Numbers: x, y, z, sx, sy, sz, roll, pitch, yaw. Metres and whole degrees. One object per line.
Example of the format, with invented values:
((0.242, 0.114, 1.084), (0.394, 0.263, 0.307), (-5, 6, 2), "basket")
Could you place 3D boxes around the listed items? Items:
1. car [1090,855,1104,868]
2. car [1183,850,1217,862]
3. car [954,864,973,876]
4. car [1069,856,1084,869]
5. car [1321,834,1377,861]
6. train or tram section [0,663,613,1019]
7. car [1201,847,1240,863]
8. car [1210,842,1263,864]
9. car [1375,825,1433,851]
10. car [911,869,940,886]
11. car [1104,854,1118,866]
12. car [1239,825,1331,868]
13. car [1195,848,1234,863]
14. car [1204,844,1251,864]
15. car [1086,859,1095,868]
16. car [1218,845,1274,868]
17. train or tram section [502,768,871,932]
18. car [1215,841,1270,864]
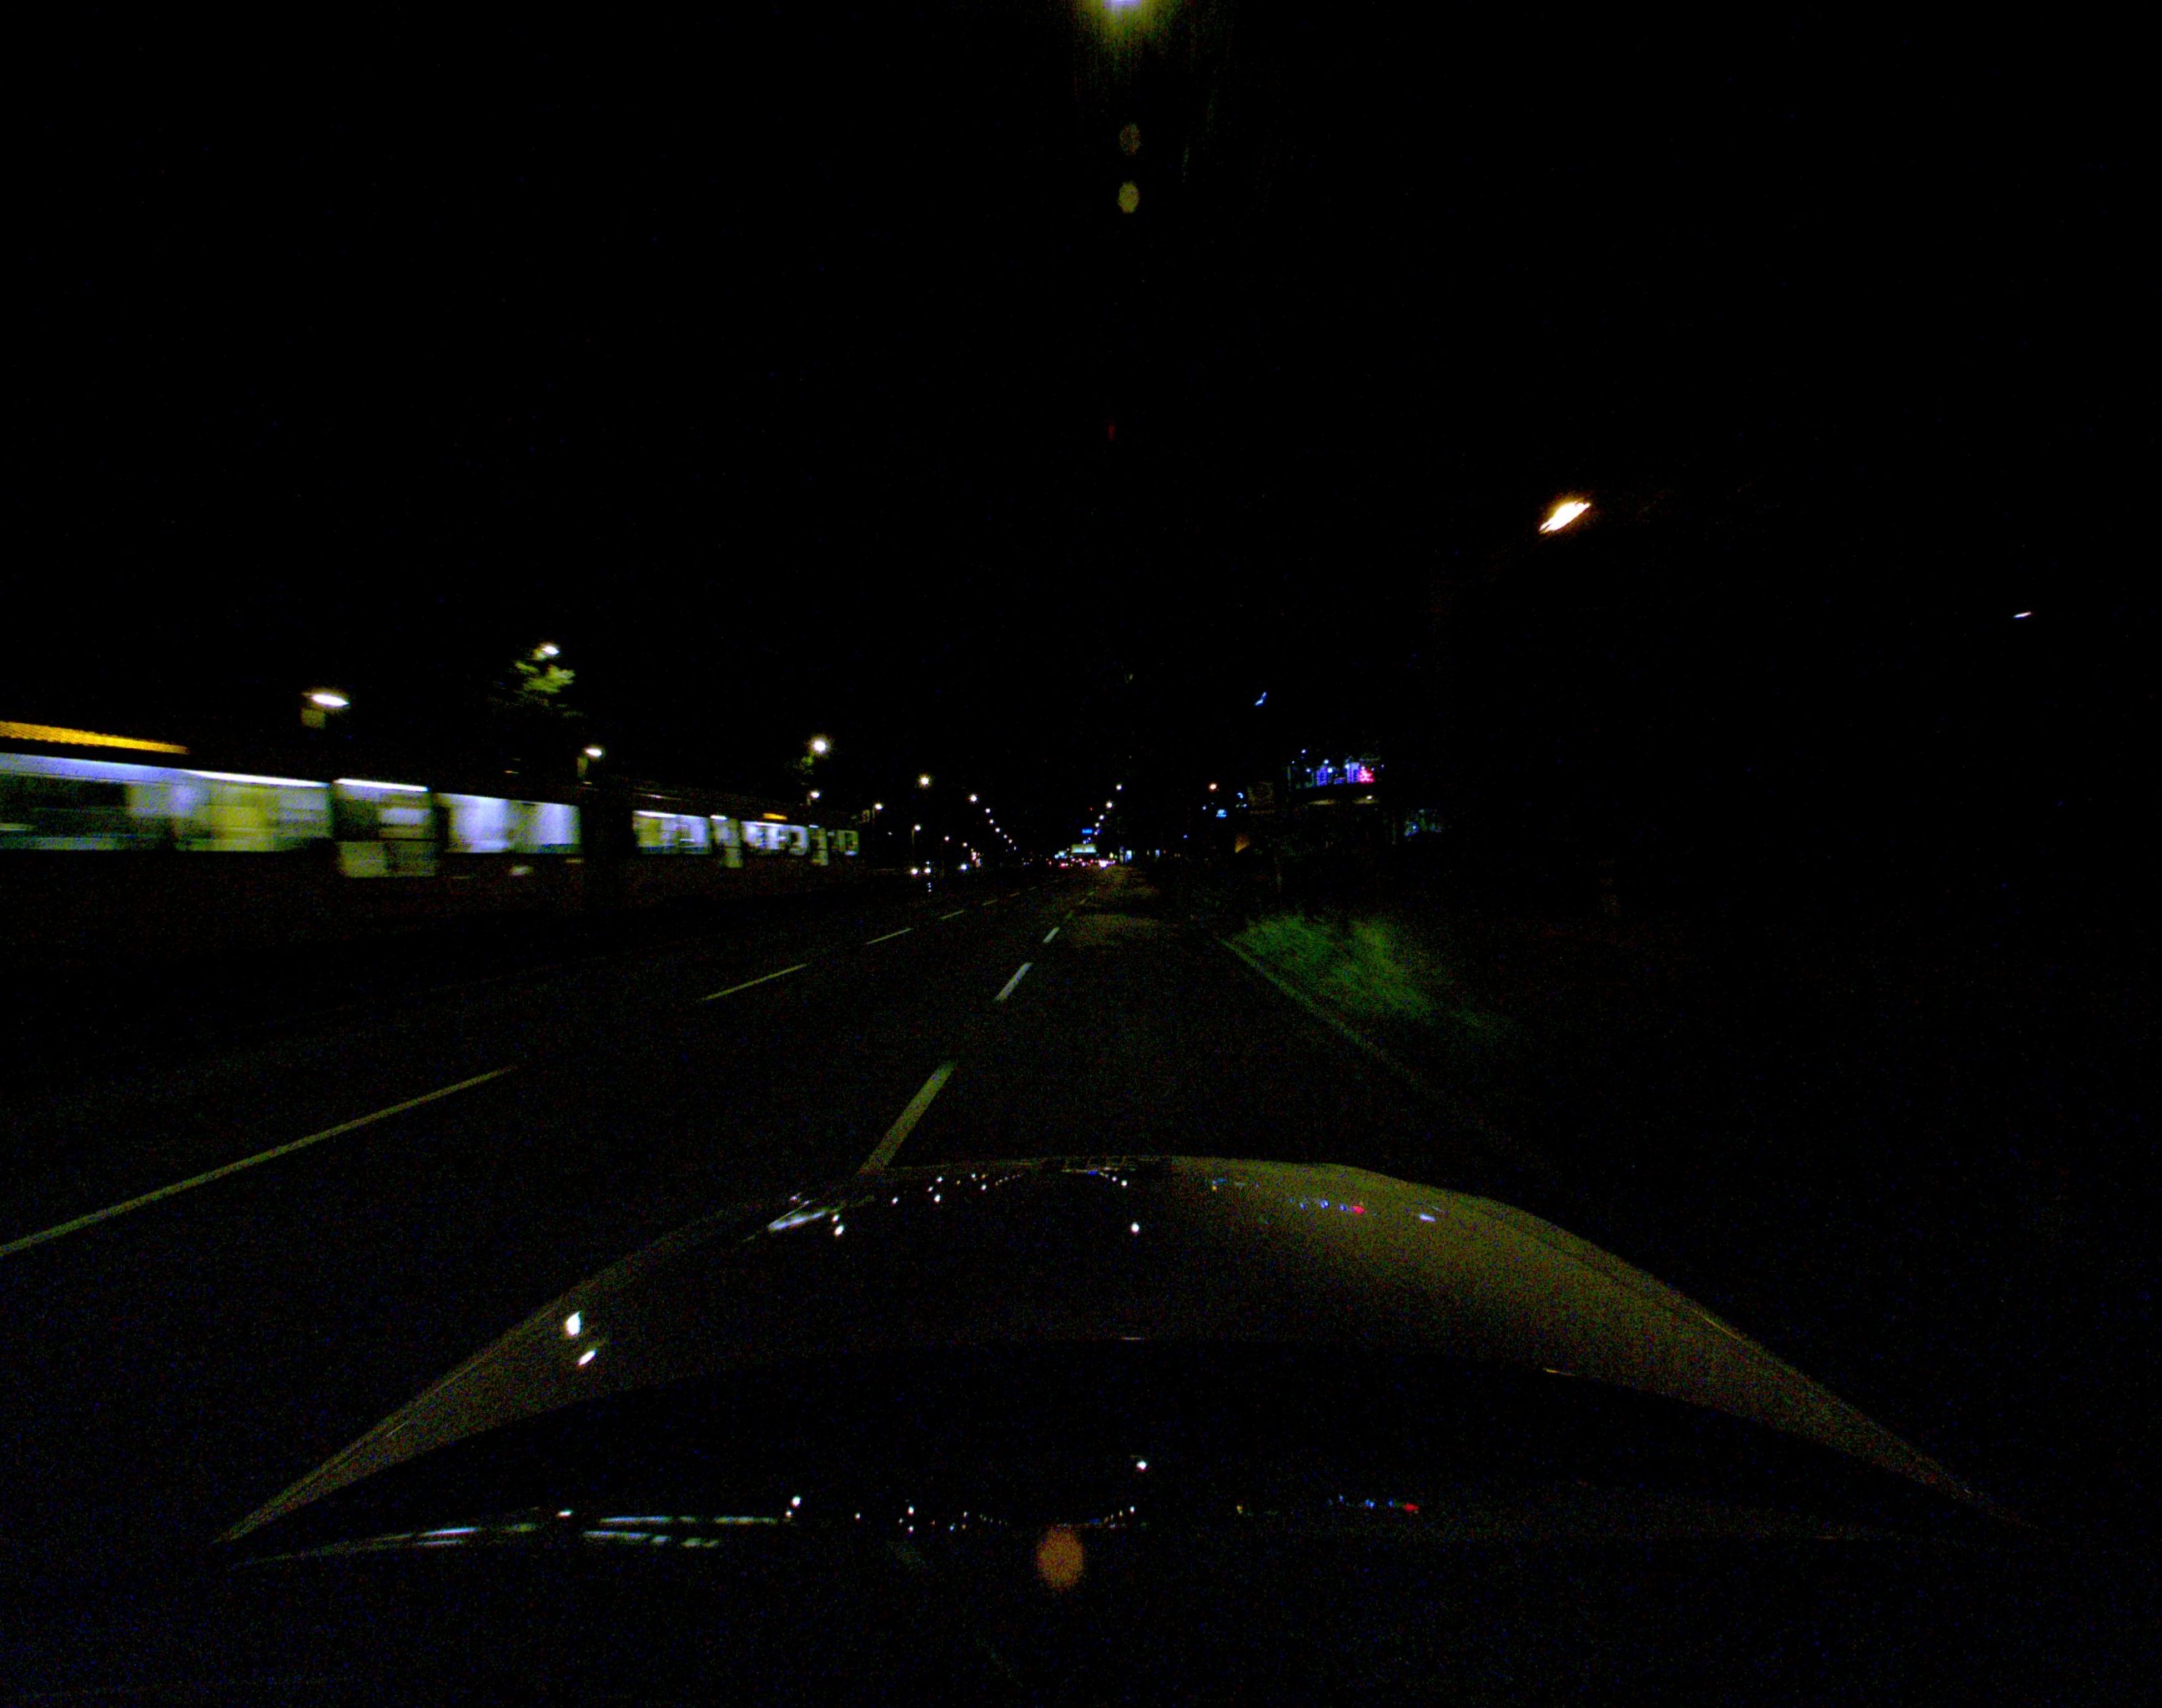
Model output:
((2.863, 1.359, 141.267), (2.347, 2.129, 4.828), (-1, -1, 2), "car")
((15.856, 0.221, 108.329), (3.995, 1.424, 1.899), (-2, 0, -16), "car")
((-15.573, 2.074, 107.741), (1.653, 1.516, 3.914), (-1, -1, 4), "car")
((-0.748, 1.442, 138.894), (2.254, 2.014, 4.828), (-1, -1, 2), "car")
((19.995, -0.464, 60.857), (1.812, 1.712, 3.940), (-4, 0, -20), "car")
((-12.986, -0.119, 9.451), (2.726, 3.846, 19.383), (-1, 0, 4), "train or tram section")
((15.312, 0.164, 89.545), (3.805, 1.453, 1.710), (-4, 0, -12), "car")
((14.856, -0.100, 77.993), (4.459, 1.687, 1.994), (-6, 0, -9), "car")
((24.486, -1.197, 61.879), (1.800, 1.577, 3.940), (-7, 1, -20), "car")
((-14.657, 2.203, 76.866), (1.778, 1.497, 4.175), (-1, -2, 2), "car")
((5.700, 1.129, 154.758), (2.418, 2.113, 4.828), (-1, -1, 2), "car")
((15.080, -0.558, 60.287), (6.028, 2.529, 2.272), (-7, 1, -15), "car")
((15.484, 0.180, 94.759), (4.029, 1.373, 1.817), (-5, 0, -14), "car")
((14.552, 0.037, 81.031), (4.079, 1.568, 1.849), (-6, 0, -9), "car")
((2.252, 2.098, 184.047), (1.880, 1.860, 4.002), (-1, -1, 2), "car")
((14.212, 0.209, 70.160), (4.201, 1.663, 1.955), (-4, 0, -9), "car")
((-11.718, -0.050, 28.517), (2.747, 3.827, 18.687), (-1, 0, 4), "train or tram section")
((14.901, -0.102, 75.129), (4.459, 1.810, 1.994), (-4, 0, -9), "car")
